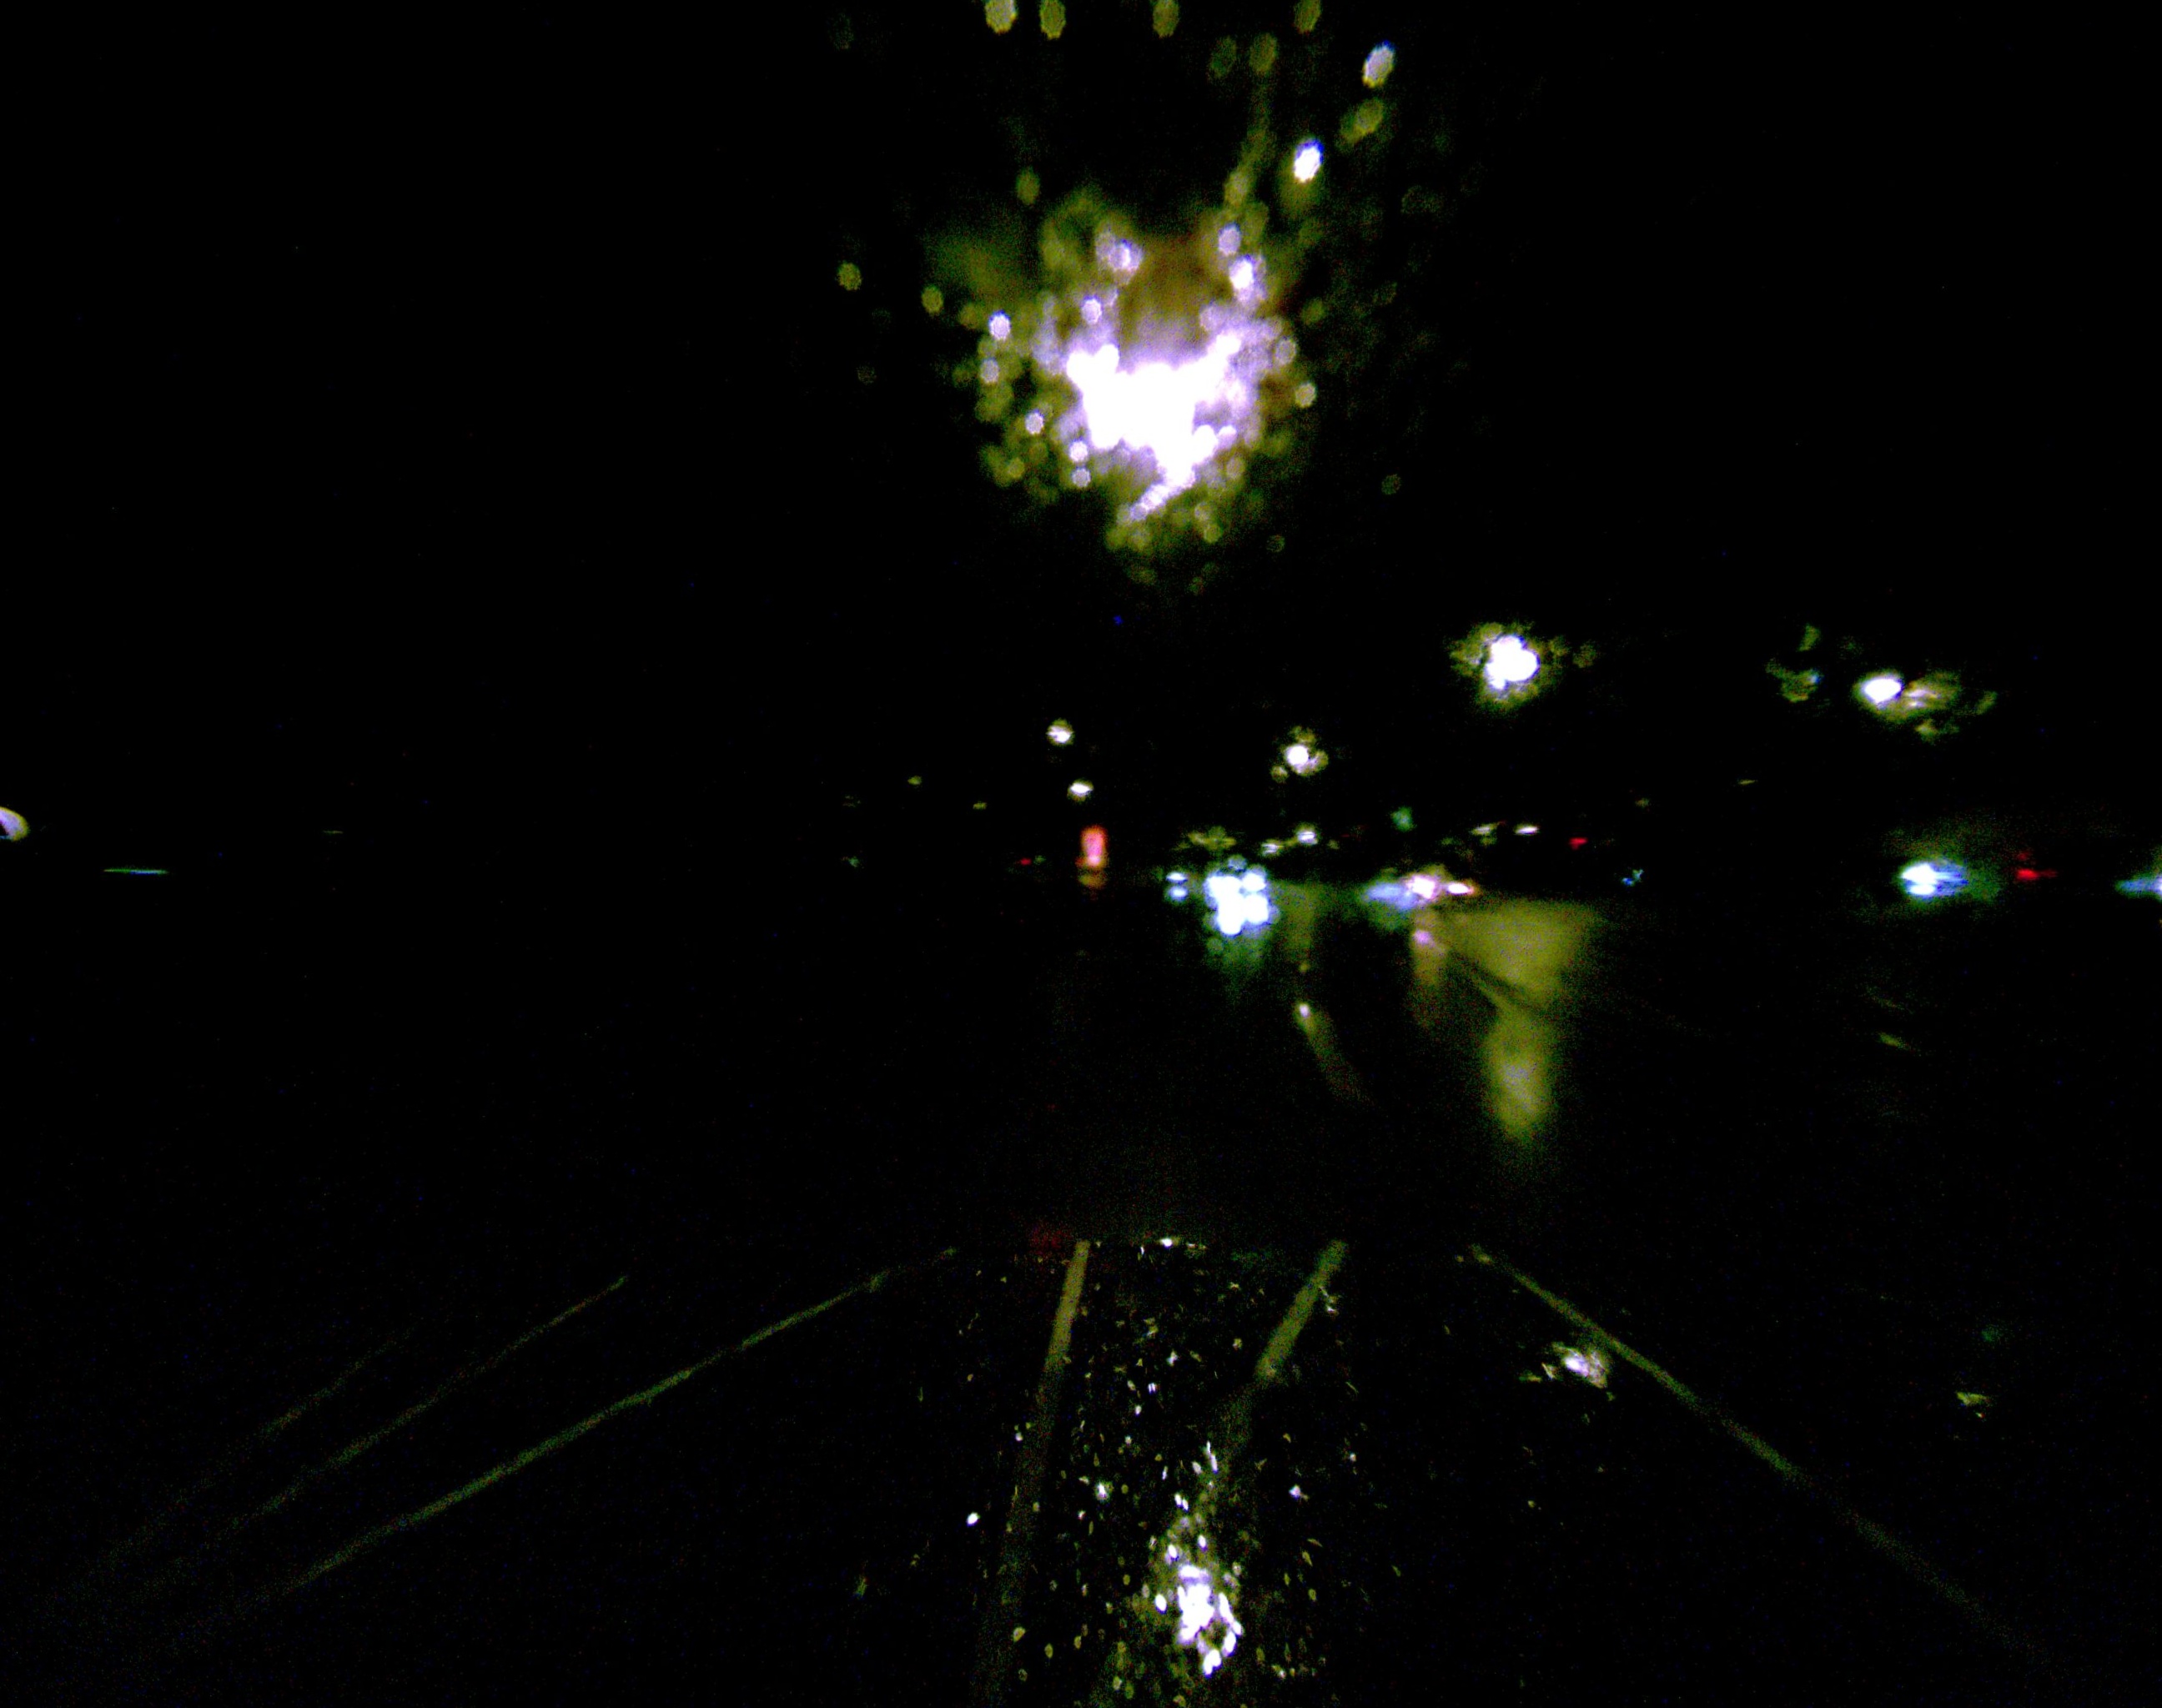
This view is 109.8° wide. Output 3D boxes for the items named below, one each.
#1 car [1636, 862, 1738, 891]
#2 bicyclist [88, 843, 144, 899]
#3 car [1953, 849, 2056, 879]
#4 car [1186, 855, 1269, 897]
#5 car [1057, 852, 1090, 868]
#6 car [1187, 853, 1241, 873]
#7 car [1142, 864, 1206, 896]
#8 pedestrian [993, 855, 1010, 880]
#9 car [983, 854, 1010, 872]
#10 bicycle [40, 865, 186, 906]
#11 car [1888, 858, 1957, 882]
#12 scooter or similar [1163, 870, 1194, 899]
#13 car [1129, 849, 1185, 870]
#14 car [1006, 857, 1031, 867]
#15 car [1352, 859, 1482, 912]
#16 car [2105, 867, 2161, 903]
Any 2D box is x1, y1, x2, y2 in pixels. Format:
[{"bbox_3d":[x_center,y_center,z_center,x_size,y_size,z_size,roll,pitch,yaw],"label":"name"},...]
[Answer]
[{"bbox_3d":[31.070,1.128,39.001,3.936,1.365,1.834,0,1,45],"label":"car"},{"bbox_3d":[-25.223,0.433,19.867,0.606,1.439,0.616,-1,1,-15],"label":"bicyclist"},{"bbox_3d":[65.736,0.642,54.189,1.998,2.002,4.422,-1,1,2],"label":"car"},{"bbox_3d":[6.549,0.919,34.492,1.953,1.709,4.436,-1,1,-14],"label":"car"},{"bbox_3d":[-0.932,0.685,90.352,2.073,1.706,5.029,-1,1,-25],"label":"car"},{"bbox_3d":[12.311,0.825,70.705,2.074,1.706,5.027,-2,1,-34],"label":"car"},{"bbox_3d":[5.525,1.527,45.726,1.837,1.696,4.185,-2,1,-26],"label":"car"},{"bbox_3d":[-4.765,0.782,45.451,0.729,1.477,0.834,-2,1,-26],"label":"pedestrian"},{"bbox_3d":[-7.563,0.772,67.580,1.671,1.494,3.747,-1,1,-18],"label":"car"},{"bbox_3d":[-25.275,0.799,19.885,2.423,0.971,0.620,-1,1,-15],"label":"bicycle"},{"bbox_3d":[59.532,1.118,53.859,1.675,1.521,4.006,-1,1,21],"label":"car"},{"bbox_3d":[3.698,1.150,28.783,1.103,1.091,0.318,1,2,2],"label":"scooter or similar"},{"bbox_3d":[6.683,0.485,67.428,2.066,1.722,5.118,-2,1,-35],"label":"car"},{"bbox_3d":[-9.591,1.170,116.215,2.003,1.394,5.337,-2,1,-27],"label":"car"},{"bbox_3d":[11.376,1.010,26.171,1.835,1.518,4.870,-1,1,-7],"label":"car"},{"bbox_3d":[51.410,1.485,35.796,1.756,1.565,4.005,-1,1,18],"label":"car"}]
